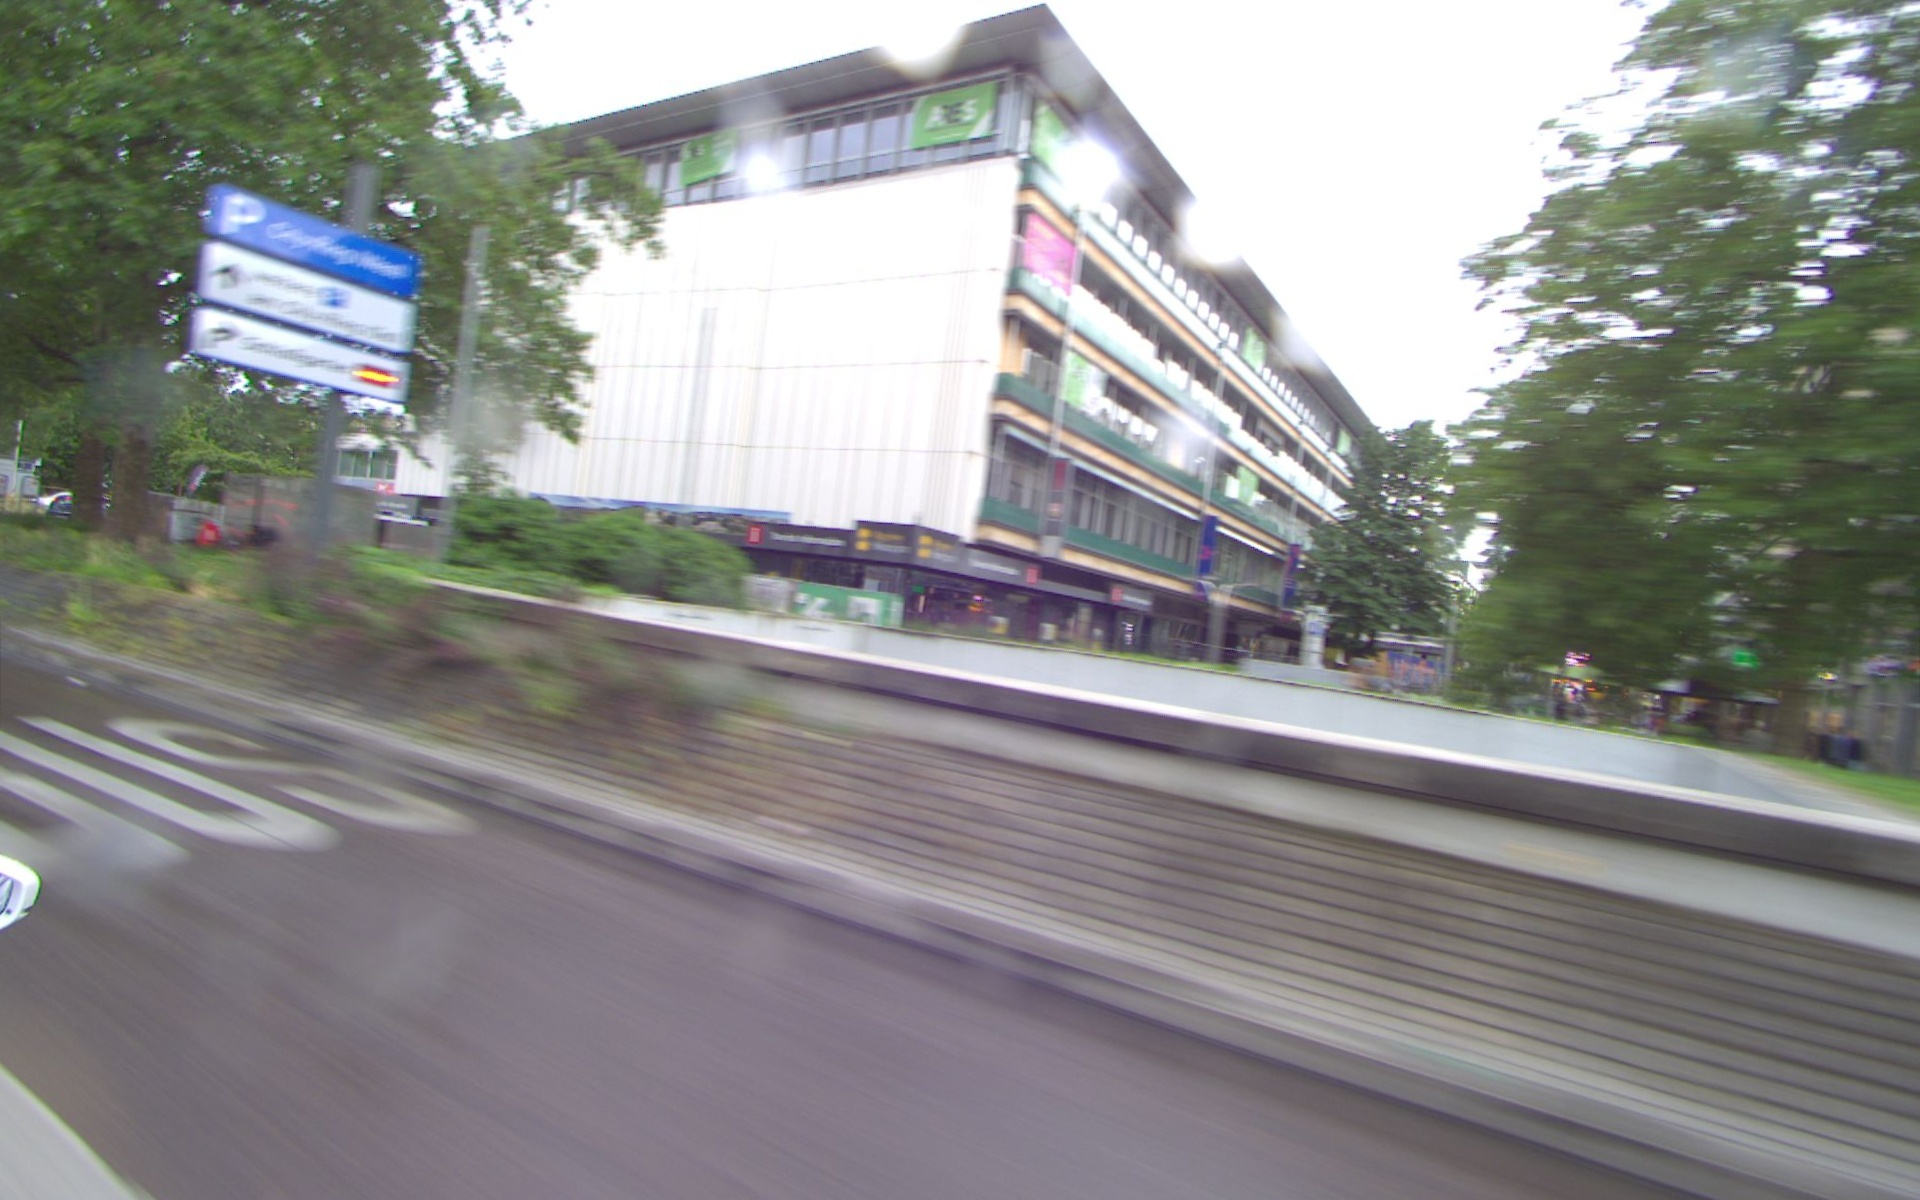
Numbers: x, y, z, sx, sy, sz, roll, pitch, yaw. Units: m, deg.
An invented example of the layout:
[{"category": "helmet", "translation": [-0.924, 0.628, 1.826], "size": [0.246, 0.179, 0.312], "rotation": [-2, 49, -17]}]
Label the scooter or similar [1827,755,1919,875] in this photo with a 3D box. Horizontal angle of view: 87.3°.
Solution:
[{"category": "scooter or similar", "translation": [11.984, 2.763, 12.791], "size": [1.291, 1.347, 0.410], "rotation": [7, -2, 20]}]

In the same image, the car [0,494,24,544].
[{"category": "car", "translation": [-31.906, -2.809, 31.258], "size": [3.569, 1.523, 1.728], "rotation": [8, -2, -20]}]

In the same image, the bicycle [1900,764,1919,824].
[{"category": "bicycle", "translation": [19.255, 3.849, 19.071], "size": [1.967, 1.069, 0.615], "rotation": [7, 1, 40]}]

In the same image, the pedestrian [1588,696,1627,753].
[{"category": "pedestrian", "translation": [24.880, 4.781, 38.678], "size": [0.835, 2.037, 0.988], "rotation": [7, -1, 15]}]

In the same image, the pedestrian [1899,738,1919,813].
[{"category": "pedestrian", "translation": [22.788, 4.162, 23.563], "size": [0.699, 1.687, 0.771], "rotation": [7, -1, 3]}]

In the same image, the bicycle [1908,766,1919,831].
[{"category": "bicycle", "translation": [17.966, 3.645, 17.513], "size": [1.995, 1.116, 0.615], "rotation": [7, 1, 40]}]

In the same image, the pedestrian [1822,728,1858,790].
[{"category": "pedestrian", "translation": [24.662, 4.450, 28.198], "size": [0.435, 1.657, 0.459], "rotation": [7, -1, -10]}]

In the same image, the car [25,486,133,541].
[{"category": "car", "translation": [-44.898, -4.353, 51.432], "size": [2.101, 2.036, 4.639], "rotation": [8, -2, -14]}]

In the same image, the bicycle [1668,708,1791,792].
[{"category": "bicycle", "translation": [17.892, 3.462, 23.441], "size": [2.100, 1.581, 0.792], "rotation": [7, -1, 40]}]

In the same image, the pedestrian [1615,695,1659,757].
[{"category": "pedestrian", "translation": [23.918, 4.443, 35.585], "size": [0.835, 2.037, 0.988], "rotation": [7, -1, 15]}]

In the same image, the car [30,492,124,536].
[{"category": "car", "translation": [-50.734, -4.912, 57.925], "size": [1.919, 1.801, 4.448], "rotation": [8, -2, -12]}]

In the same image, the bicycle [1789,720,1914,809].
[{"category": "bicycle", "translation": [20.345, 3.725, 23.012], "size": [1.967, 1.653, 0.615], "rotation": [7, 0, 40]}]

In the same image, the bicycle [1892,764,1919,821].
[{"category": "bicycle", "translation": [19.669, 3.926, 19.692], "size": [1.967, 1.039, 0.615], "rotation": [7, 1, 40]}]

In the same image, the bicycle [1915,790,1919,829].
[{"category": "bicycle", "translation": [18.679, 3.767, 18.115], "size": [1.995, 1.116, 0.615], "rotation": [7, 1, 40]}]

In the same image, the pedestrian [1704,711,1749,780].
[{"category": "pedestrian", "translation": [22.372, 4.238, 29.387], "size": [0.821, 1.885, 0.820], "rotation": [6, -2, 33]}]
